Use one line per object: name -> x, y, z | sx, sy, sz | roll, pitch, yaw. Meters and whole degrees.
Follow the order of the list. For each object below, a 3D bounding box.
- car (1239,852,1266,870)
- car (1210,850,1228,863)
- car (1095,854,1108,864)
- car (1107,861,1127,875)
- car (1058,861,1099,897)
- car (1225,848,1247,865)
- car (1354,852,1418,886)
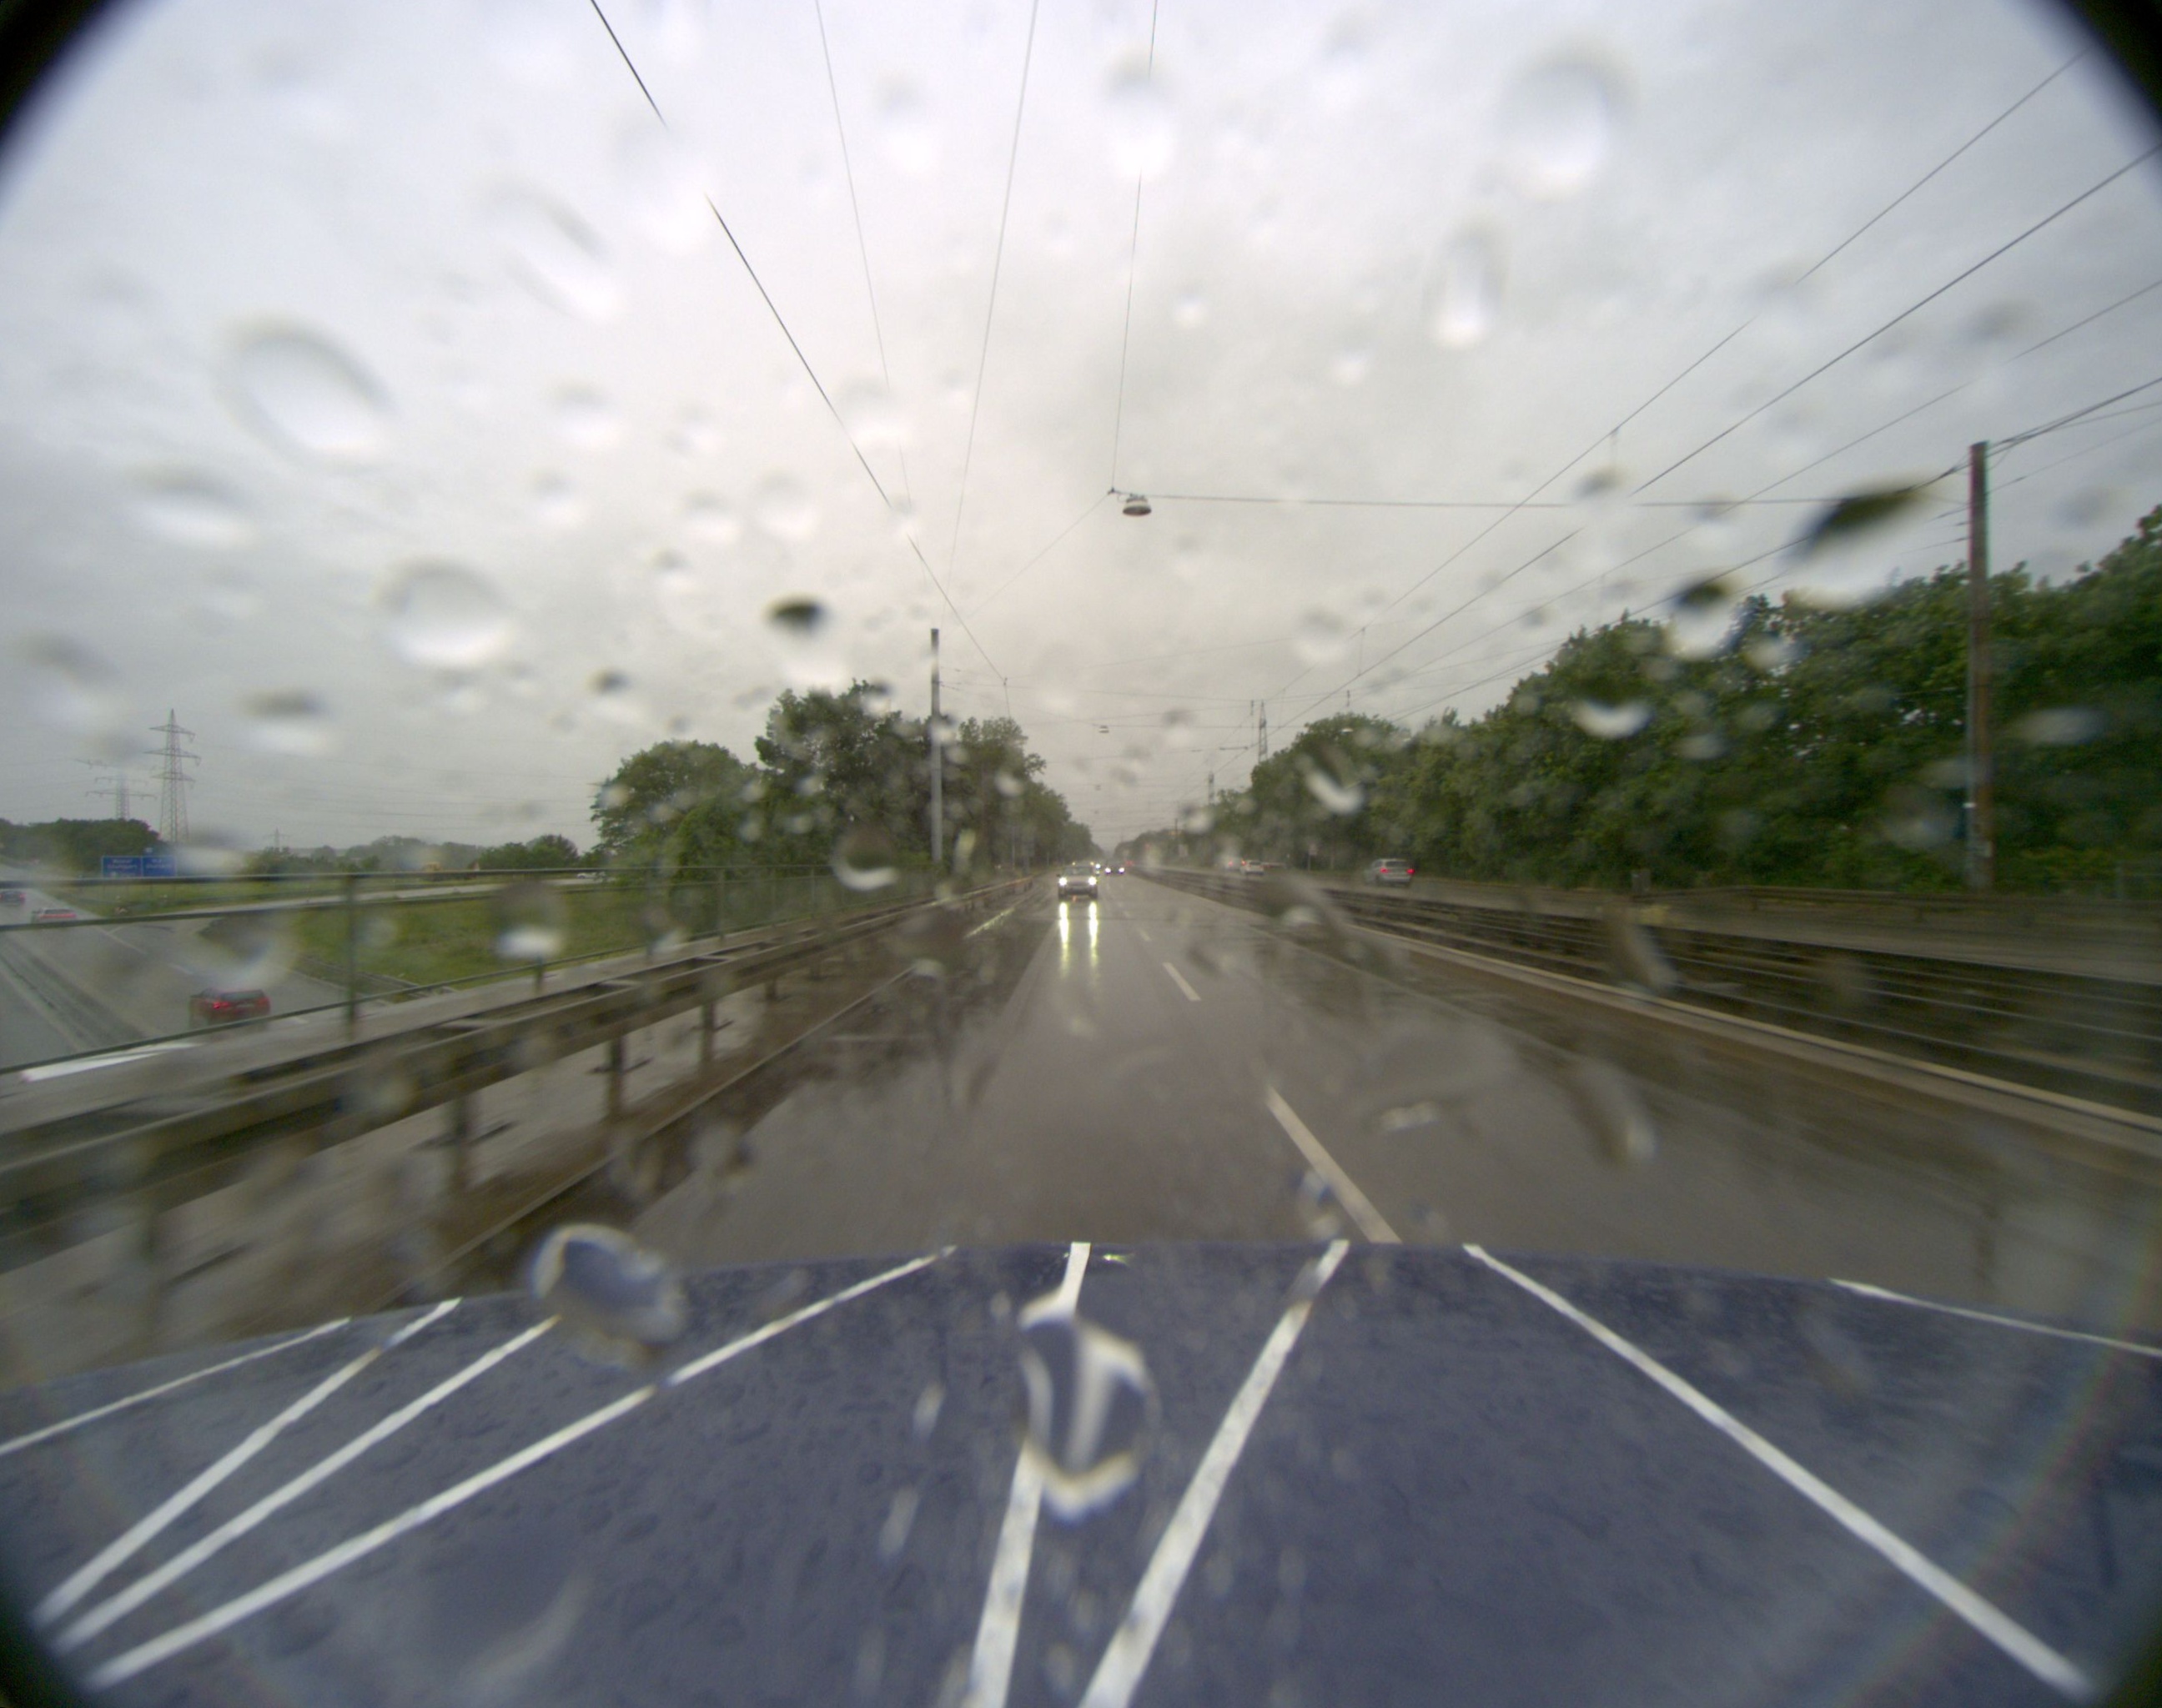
car -> 16.833, 0.653, 74.743 | 1.777, 1.621, 3.670 | -4, 1, 1
car -> 21.240, 0.369, 117.107 | 2.190, 1.687, 4.146 | -4, 1, 3
car -> 3.238, 0.779, 119.652 | 1.971, 1.412, 4.000 | 0, 1, 1
car -> 3.866, 1.458, 81.817 | 1.971, 1.412, 4.000 | 0, 1, 1
car -> -0.076, 1.083, 34.074 | 1.750, 1.412, 4.000 | 0, 1, 1
car -> 21.298, 0.287, 104.626 | 2.190, 2.091, 4.146 | -4, 1, 3
car -> 17.582, 0.833, 44.047 | 1.837, 1.701, 4.661 | -4, 1, 1
